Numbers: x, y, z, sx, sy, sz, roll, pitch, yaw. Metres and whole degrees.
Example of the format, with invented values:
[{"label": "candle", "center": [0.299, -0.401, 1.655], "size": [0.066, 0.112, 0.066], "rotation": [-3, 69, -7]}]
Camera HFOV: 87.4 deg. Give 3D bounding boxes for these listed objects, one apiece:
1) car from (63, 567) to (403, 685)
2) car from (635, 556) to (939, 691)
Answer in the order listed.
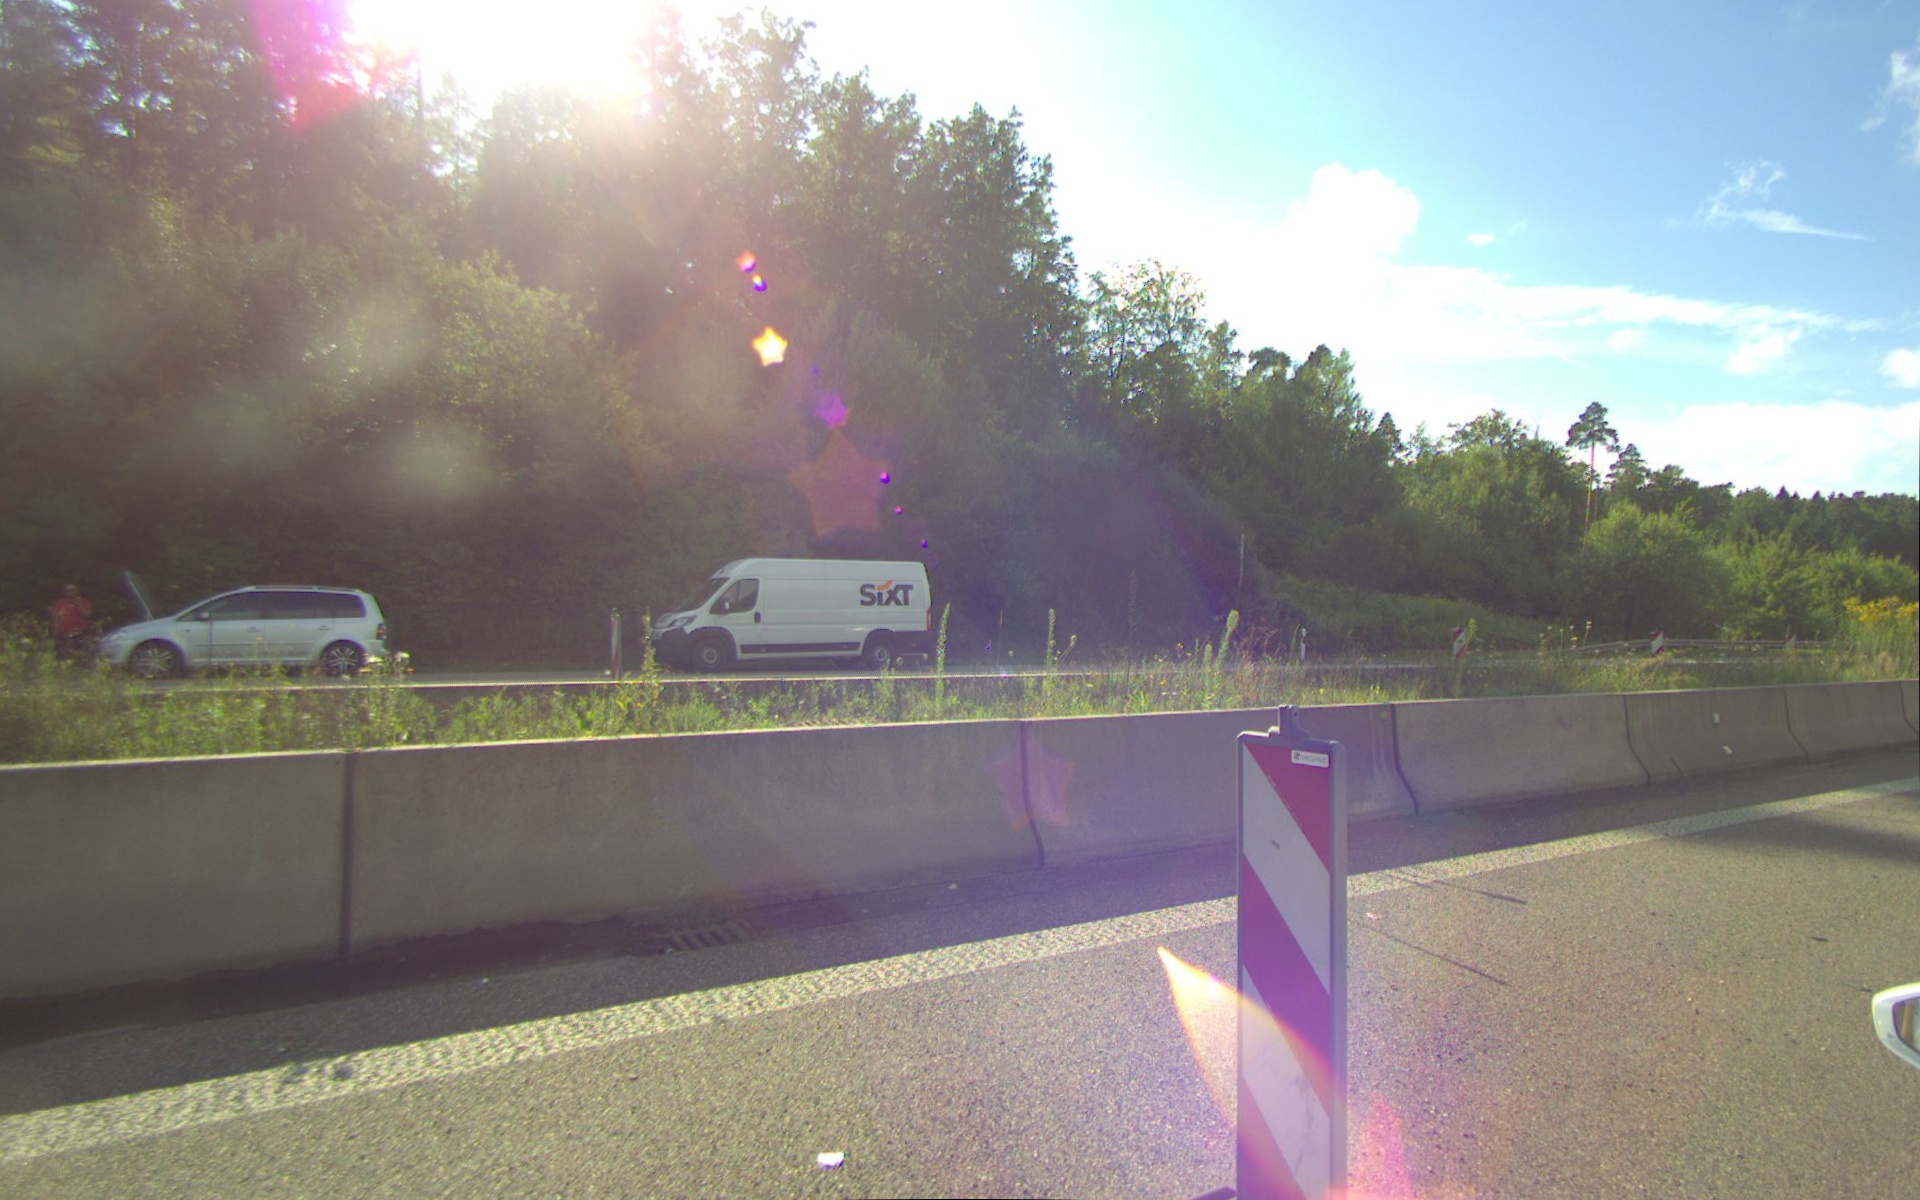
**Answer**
[{"label": "car", "center": [-12.743, 0.483, 18.057], "size": [4.707, 1.878, 1.851], "rotation": [2, -1, -31]}, {"label": "car", "center": [-3.795, 0.570, 22.740], "size": [6.447, 2.720, 2.018], "rotation": [2, -1, -31]}]
